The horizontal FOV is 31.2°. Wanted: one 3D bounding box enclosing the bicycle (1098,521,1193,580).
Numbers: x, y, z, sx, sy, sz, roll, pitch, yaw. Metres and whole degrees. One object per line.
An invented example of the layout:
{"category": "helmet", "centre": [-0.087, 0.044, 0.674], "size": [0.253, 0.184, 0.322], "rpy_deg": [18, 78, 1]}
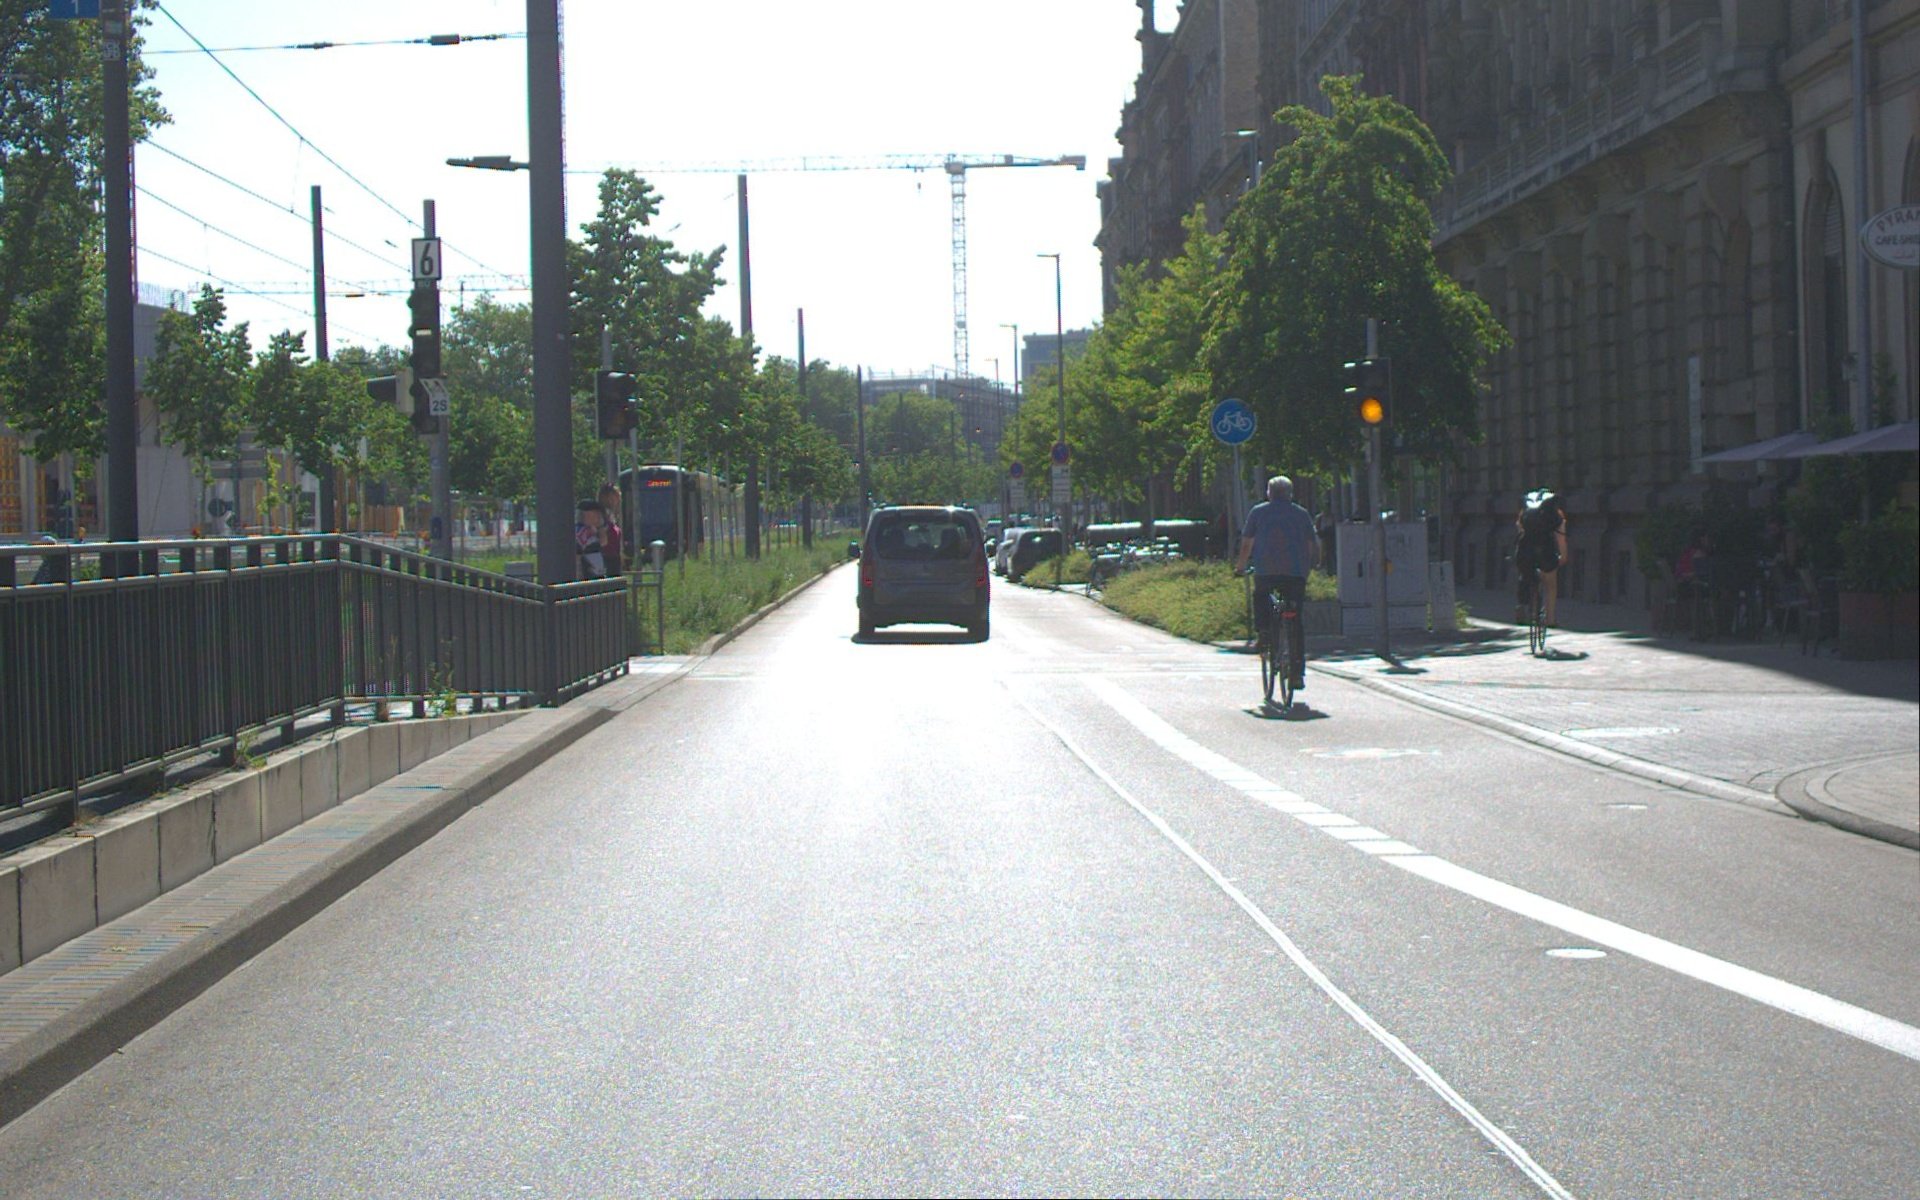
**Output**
{"category": "bicycle", "centre": [3.758, -0.998, 69.668], "size": [1.792, 1.027, 0.527], "rpy_deg": [-5, 1, -1]}

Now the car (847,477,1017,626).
{"category": "car", "centre": [-0.427, -0.690, 47.953], "size": [2.200, 1.919, 4.654], "rpy_deg": [-2, 1, -1]}

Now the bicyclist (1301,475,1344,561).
{"category": "bicyclist", "centre": [7.004, -1.585, 66.429], "size": [0.666, 1.633, 0.960], "rpy_deg": [-1, 1, -1]}

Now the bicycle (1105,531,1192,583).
{"category": "bicycle", "centre": [3.986, -0.914, 72.788], "size": [1.792, 1.027, 0.527], "rpy_deg": [-2, 1, -1]}

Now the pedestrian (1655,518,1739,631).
{"category": "pedestrian", "centre": [7.954, -0.281, 37.118], "size": [0.706, 1.174, 0.635], "rpy_deg": [-3, 1, -1]}

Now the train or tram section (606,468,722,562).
{"category": "train or tram section", "centre": [-9.043, -2.563, 105.990], "size": [2.756, 2.733, 9.864], "rpy_deg": [0, 1, 0]}

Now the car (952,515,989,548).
{"category": "car", "centre": [0.579, -3.918, 196.827], "size": [1.993, 1.831, 4.000], "rpy_deg": [0, 1, -1]}

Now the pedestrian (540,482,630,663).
{"category": "pedestrian", "centre": [-3.764, -0.289, 34.442], "size": [0.865, 1.782, 0.971], "rpy_deg": [0, 1, -7]}

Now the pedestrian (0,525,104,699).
{"category": "pedestrian", "centre": [-8.165, 0.099, 30.706], "size": [0.812, 1.531, 0.798], "rpy_deg": [0, 1, 1]}

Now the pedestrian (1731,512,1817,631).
{"category": "pedestrian", "centre": [8.788, -0.312, 37.135], "size": [0.706, 1.232, 0.635], "rpy_deg": [-3, 1, -1]}

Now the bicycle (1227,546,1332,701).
{"category": "bicycle", "centre": [2.546, 0.169, 27.564], "size": [0.601, 1.177, 1.869], "rpy_deg": [1, 1, -2]}

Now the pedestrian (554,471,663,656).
{"category": "pedestrian", "centre": [-3.701, -0.385, 36.174], "size": [1.075, 1.902, 0.653], "rpy_deg": [-2, 1, -7]}

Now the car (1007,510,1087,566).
{"category": "car", "centre": [2.442, -1.758, 97.568], "size": [2.028, 1.493, 4.654], "rpy_deg": [-2, 1, -1]}

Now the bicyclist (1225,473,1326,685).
{"category": "bicyclist", "centre": [2.539, -0.177, 27.711], "size": [0.684, 1.667, 0.922], "rpy_deg": [1, 1, -2]}

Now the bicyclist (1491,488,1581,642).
{"category": "bicyclist", "centre": [6.003, -0.372, 35.853], "size": [0.660, 1.525, 0.801], "rpy_deg": [-5, 1, -1]}

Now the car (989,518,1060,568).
{"category": "car", "centre": [2.040, -1.833, 109.789], "size": [2.028, 1.493, 4.531], "rpy_deg": [-2, 1, -1]}

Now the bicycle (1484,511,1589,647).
{"category": "bicycle", "centre": [6.011, -0.239, 35.920], "size": [0.615, 1.326, 1.900], "rpy_deg": [-5, 2, -1]}

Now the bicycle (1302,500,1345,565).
{"category": "bicycle", "centre": [7.031, -1.315, 66.502], "size": [0.583, 1.218, 1.900], "rpy_deg": [-1, 2, -1]}

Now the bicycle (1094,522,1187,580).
{"category": "bicycle", "centre": [3.725, -1.016, 71.042], "size": [1.792, 1.027, 0.527], "rpy_deg": [-5, 1, -1]}

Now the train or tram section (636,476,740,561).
{"category": "train or tram section", "centre": [-9.095, -2.694, 115.837], "size": [2.756, 2.733, 9.864], "rpy_deg": [0, 1, 0]}

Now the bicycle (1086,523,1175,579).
{"category": "bicycle", "centre": [3.672, -1.059, 74.128], "size": [1.792, 1.027, 0.527], "rpy_deg": [-5, 1, -1]}
